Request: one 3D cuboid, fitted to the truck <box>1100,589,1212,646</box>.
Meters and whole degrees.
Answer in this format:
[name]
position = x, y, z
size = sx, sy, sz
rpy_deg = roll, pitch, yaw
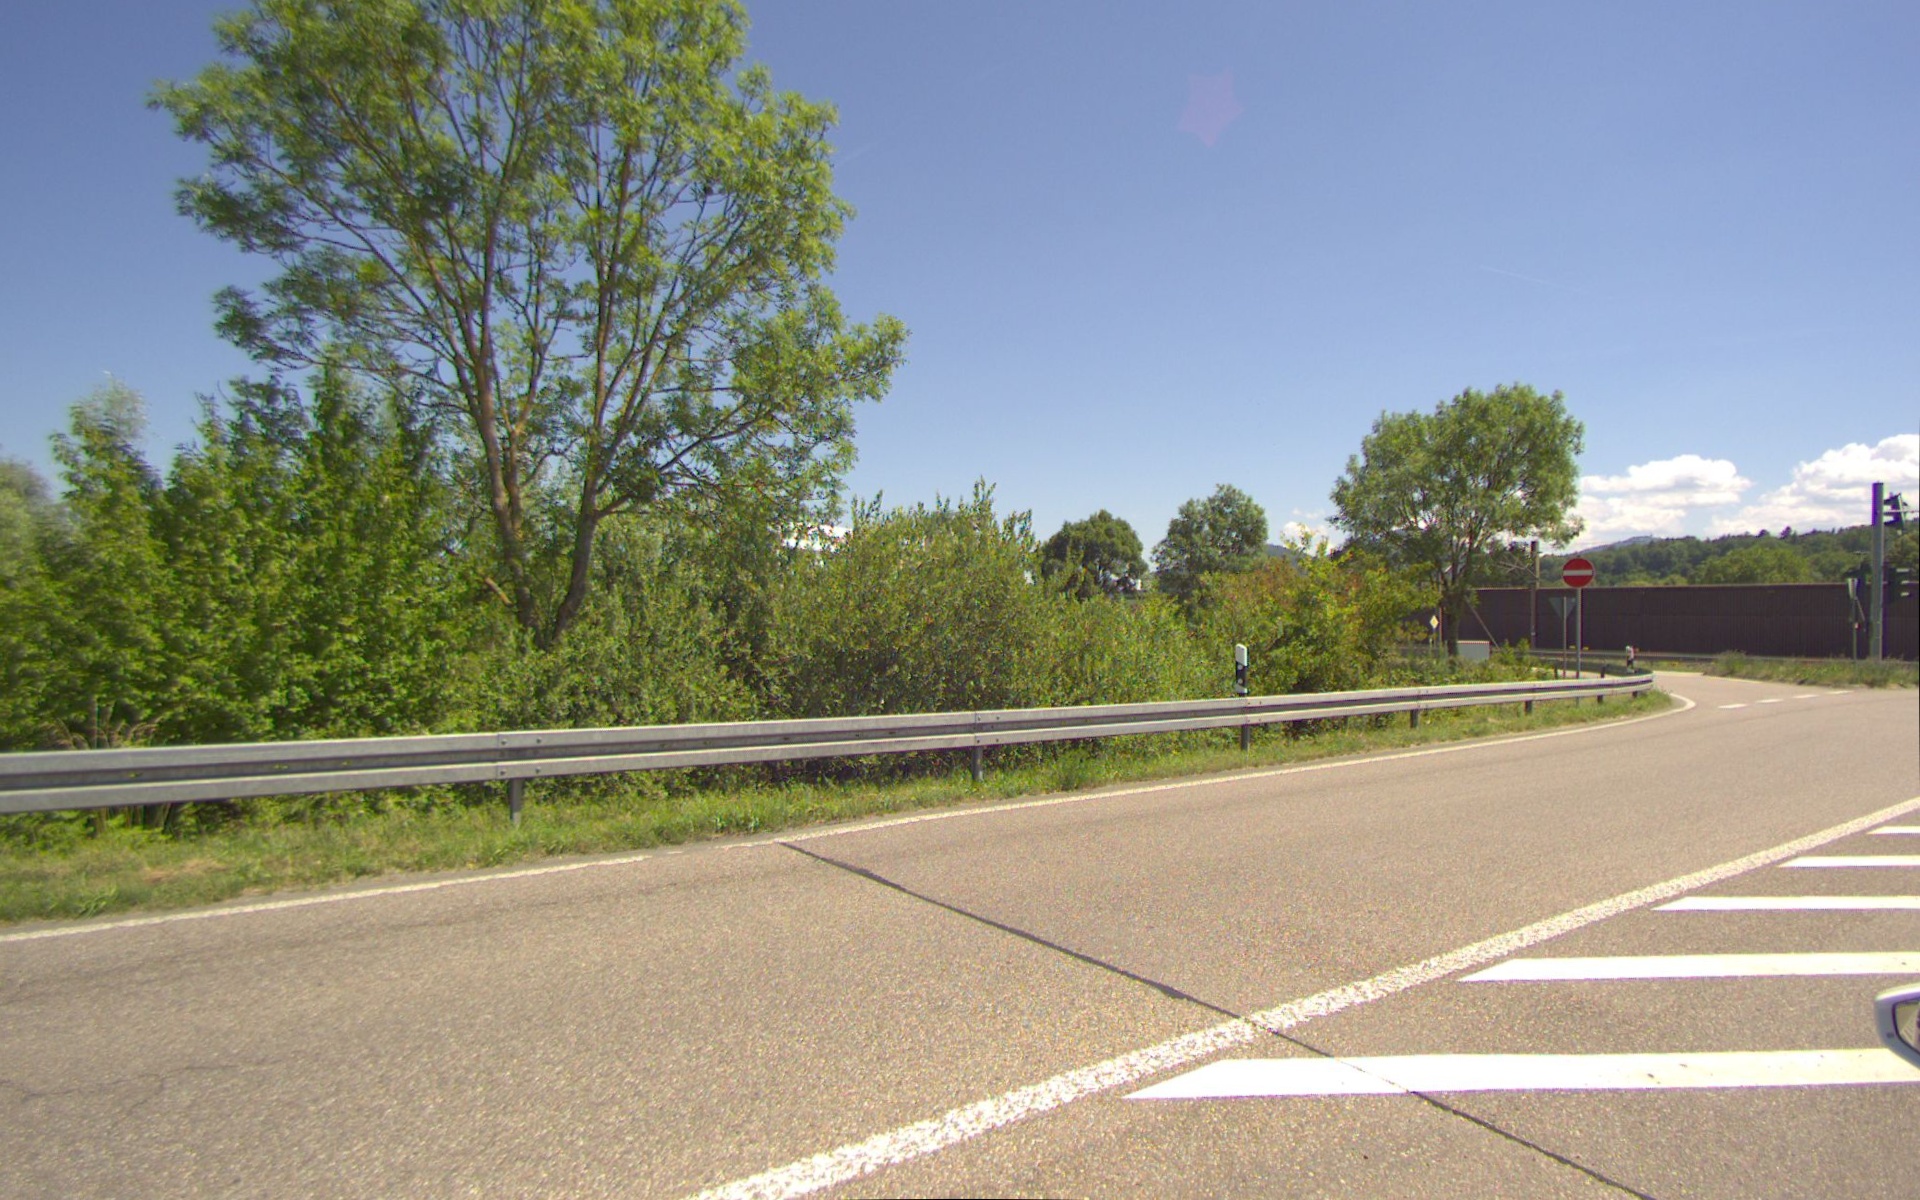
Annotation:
[truck]
position = 12.936, 1.128, 67.201
size = 2.100, 3.516, 9.029
rpy_deg = 2, -1, -28
